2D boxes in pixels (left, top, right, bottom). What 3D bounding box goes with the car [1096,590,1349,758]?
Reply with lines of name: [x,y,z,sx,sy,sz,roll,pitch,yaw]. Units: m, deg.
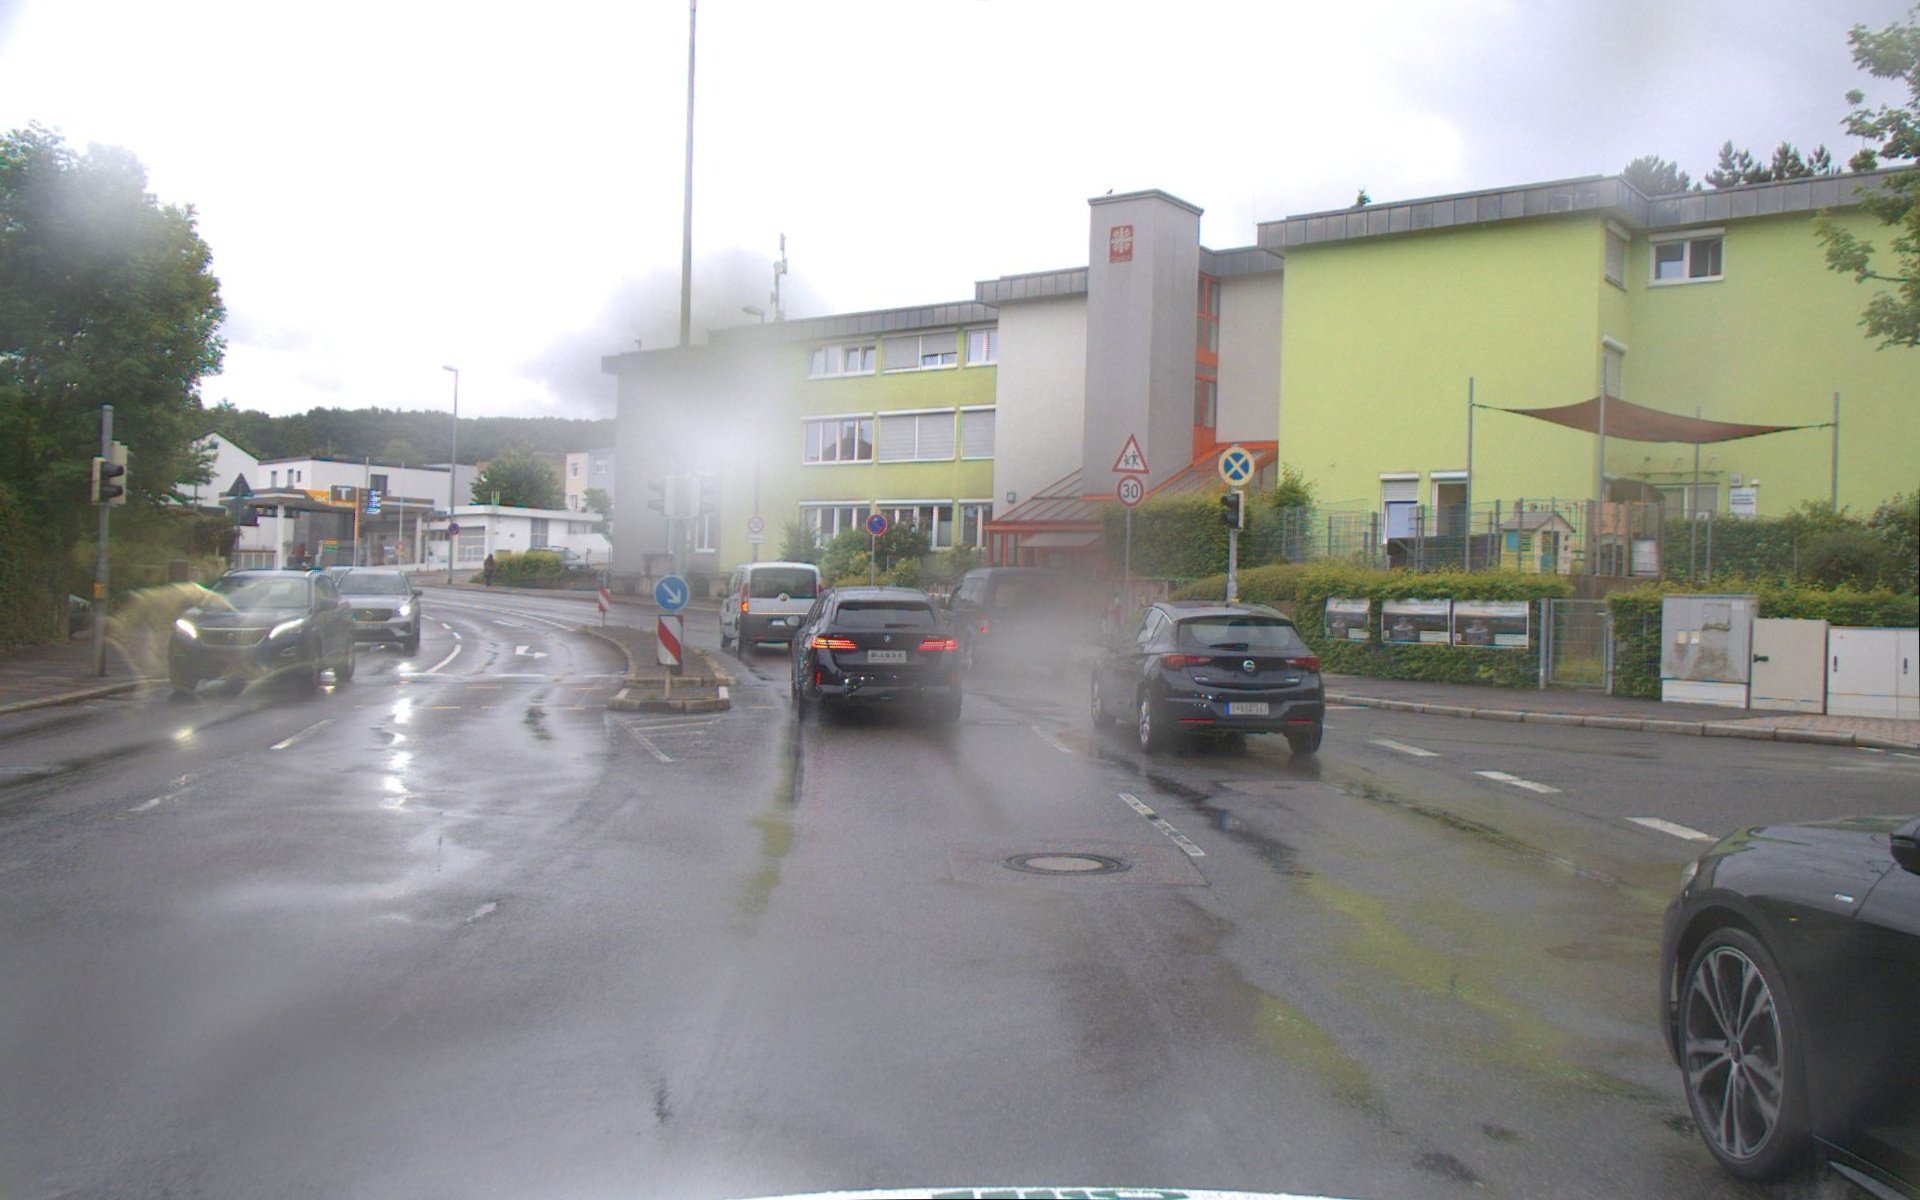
car: [2.594,0.674,17.316,1.813,1.512,4.084,1,1,-3]

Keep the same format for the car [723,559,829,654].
car: [-3.933,0.071,34.885,1.688,1.876,4.071,-1,1,-14]

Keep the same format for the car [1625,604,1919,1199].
car: [2.982,0.787,2.956,1.672,1.452,4.508,1,1,-1]

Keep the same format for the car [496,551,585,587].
car: [-21.299,-1.561,83.969,4.322,1.803,1.992,-1,0,-16]

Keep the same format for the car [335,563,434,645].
car: [-12.018,0.066,34.709,1.593,1.609,3.760,-1,0,-14]

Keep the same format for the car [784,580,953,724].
car: [-1.180,0.547,19.683,1.651,1.532,3.766,-1,0,-9]

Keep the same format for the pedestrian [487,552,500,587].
pedestrian: [-22.503,-1.475,79.787,0.467,1.648,0.417,0,0,-30]

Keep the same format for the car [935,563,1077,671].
car: [0.746,0.237,29.621,1.751,1.764,4.077,-1,1,-10]

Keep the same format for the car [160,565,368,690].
car: [-9.672,0.339,23.307,1.816,1.592,3.991,-1,0,-10]
